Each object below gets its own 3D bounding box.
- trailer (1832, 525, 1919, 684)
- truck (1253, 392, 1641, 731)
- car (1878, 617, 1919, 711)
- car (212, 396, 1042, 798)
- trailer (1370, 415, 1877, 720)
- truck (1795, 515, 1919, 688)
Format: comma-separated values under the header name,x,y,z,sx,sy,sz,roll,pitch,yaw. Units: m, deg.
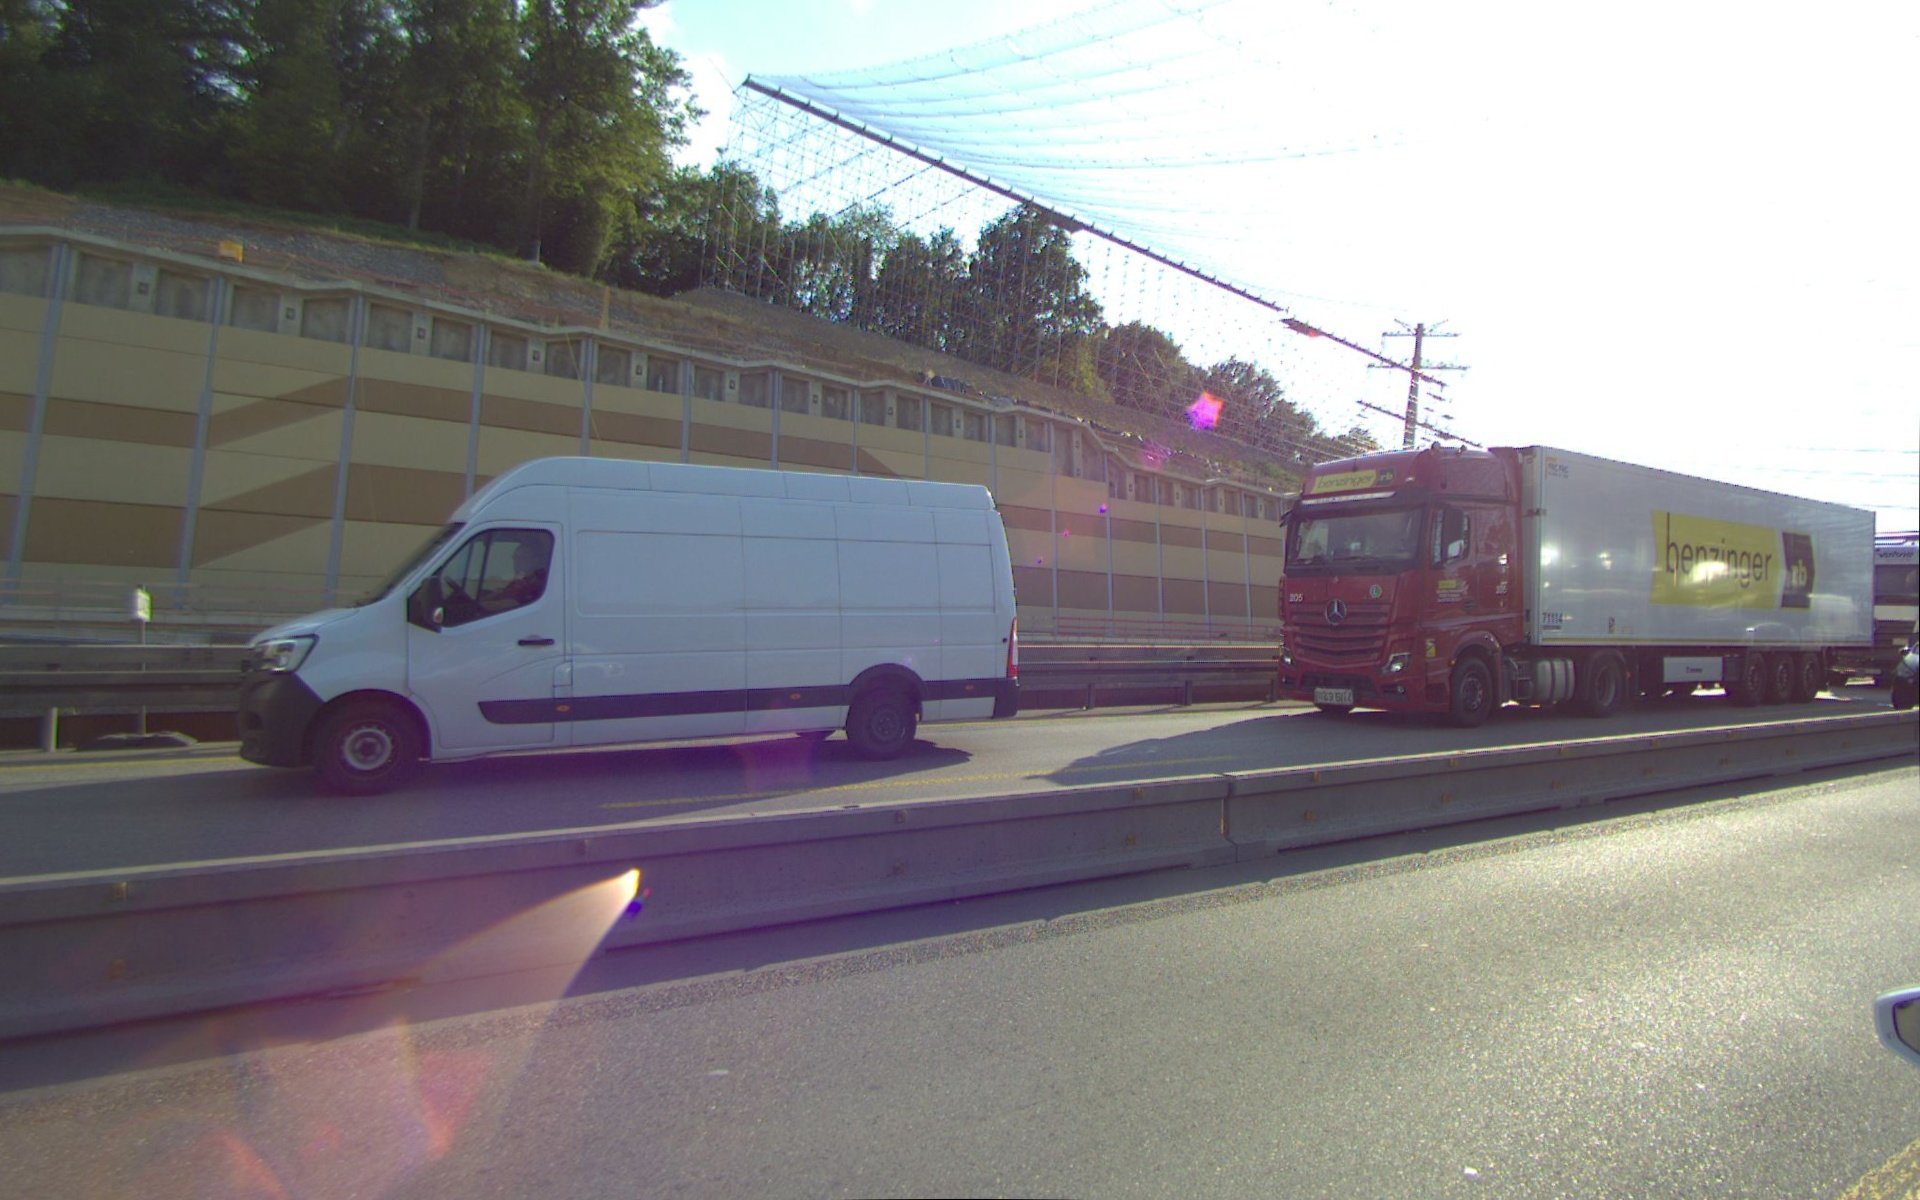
name,x,y,z,sx,sy,sz,roll,pitch,yaw
trailer,30.778,0.308,30.557,13.818,4.196,2.782,2,-1,-33
truck,7.675,-0.415,15.663,5.869,4.357,2.730,2,-1,-32
car,19.333,1.193,18.939,4.808,1.679,1.743,1,-1,-32
car,-2.622,0.112,9.497,6.872,2.725,2.011,3,0,-32
trailer,13.391,-0.279,19.313,13.729,4.391,2.751,2,-1,-33
truck,25.125,0.112,26.801,5.871,4.196,2.771,2,-1,-33
